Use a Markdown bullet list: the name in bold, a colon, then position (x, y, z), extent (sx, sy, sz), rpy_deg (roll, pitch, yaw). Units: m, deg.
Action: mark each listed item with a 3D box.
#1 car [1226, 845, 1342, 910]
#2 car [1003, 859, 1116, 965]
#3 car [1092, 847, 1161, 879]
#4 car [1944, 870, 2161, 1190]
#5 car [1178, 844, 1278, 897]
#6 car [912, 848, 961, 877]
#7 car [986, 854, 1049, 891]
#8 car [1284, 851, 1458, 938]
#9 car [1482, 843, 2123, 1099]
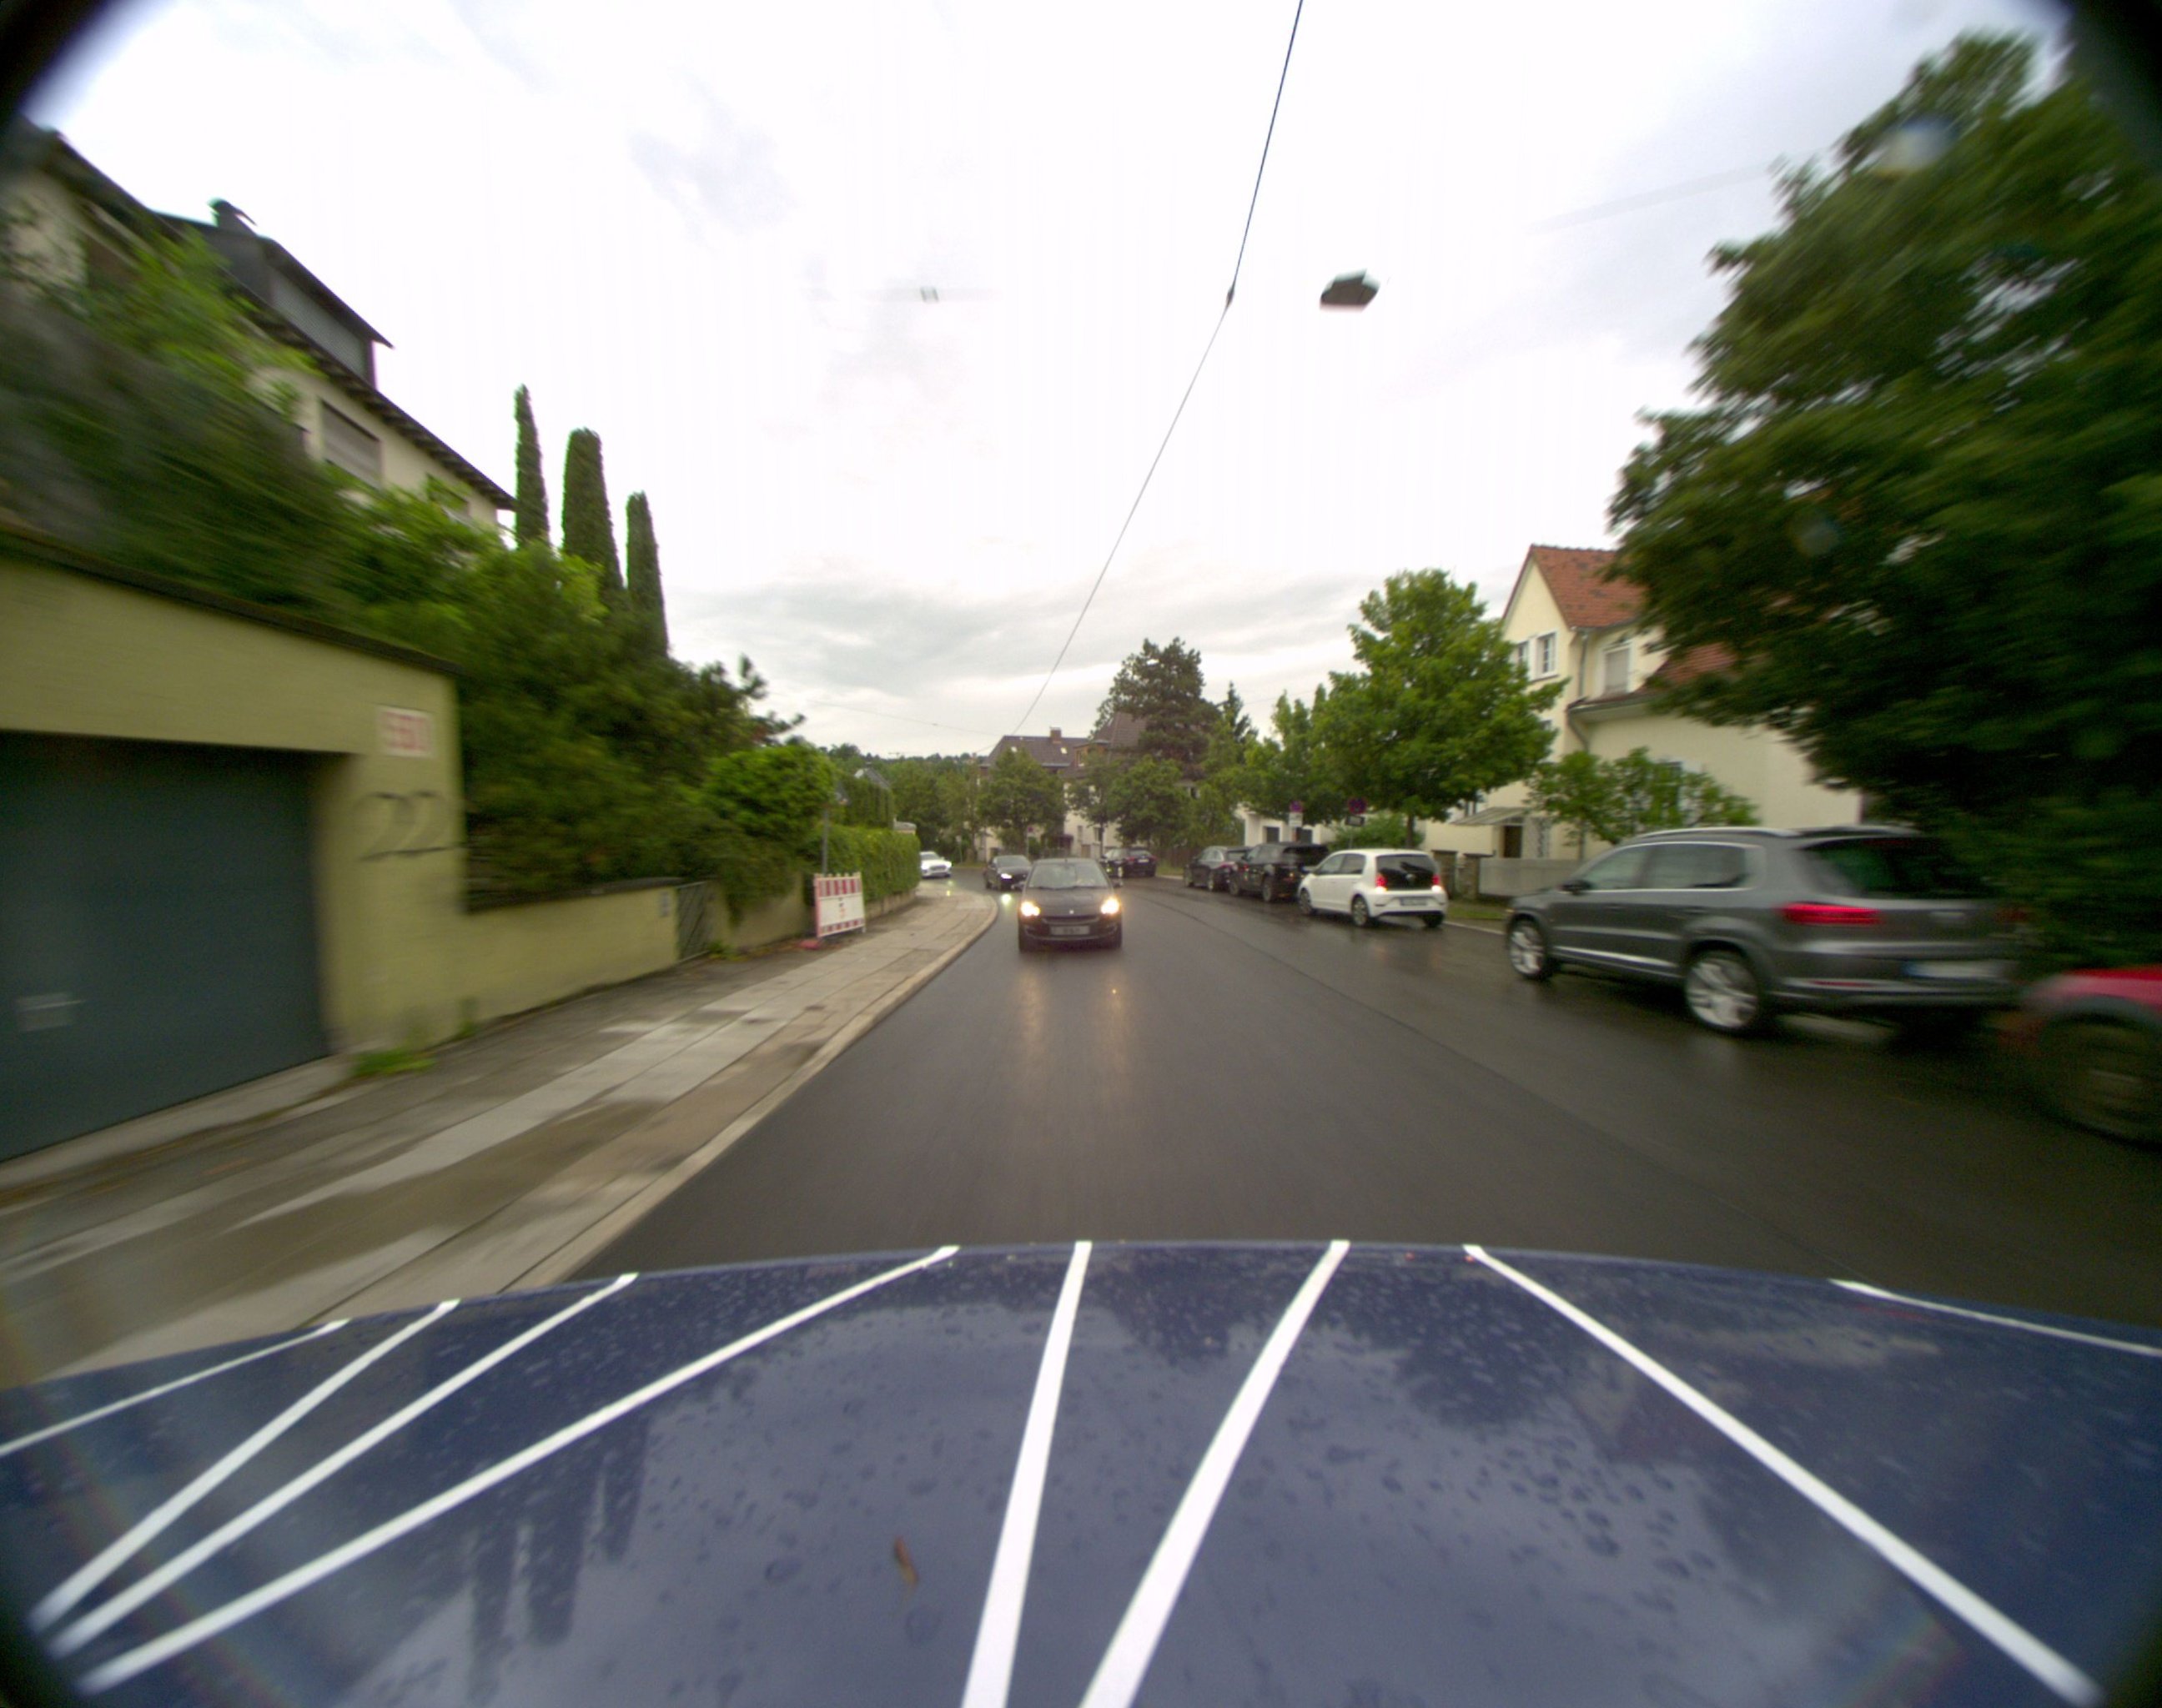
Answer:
- **car**: position (5.500, 0.563, 21.159), extent (1.738, 1.537, 4.207), rpy_deg (-2, 2, -5)
- **car**: position (-0.224, 0.896, 13.817), extent (1.674, 1.458, 4.715), rpy_deg (-1, 1, 2)
- **car**: position (2.163, 0.395, 37.263), extent (1.677, 1.458, 3.886), rpy_deg (-2, 1, -25)
- **car**: position (5.886, 0.860, 2.512), extent (1.686, 1.463, 3.865), rpy_deg (0, 1, 1)
- **car**: position (4.941, 0.492, 26.334), extent (1.872, 1.537, 4.900), rpy_deg (-2, 2, -8)
- **car**: position (-9.214, 0.484, 48.065), extent (2.004, 1.699, 4.564), rpy_deg (-2, 1, -24)
- **car**: position (-2.836, 0.742, 33.071), extent (1.846, 1.395, 4.064), rpy_deg (-2, 1, -18)
- **car**: position (5.754, 0.719, 15.650), extent (1.738, 1.458, 3.997), rpy_deg (-2, 1, -5)
- **car**: position (5.893, 0.740, 7.194), extent (1.805, 1.659, 4.424), rpy_deg (0, 1, -1)
